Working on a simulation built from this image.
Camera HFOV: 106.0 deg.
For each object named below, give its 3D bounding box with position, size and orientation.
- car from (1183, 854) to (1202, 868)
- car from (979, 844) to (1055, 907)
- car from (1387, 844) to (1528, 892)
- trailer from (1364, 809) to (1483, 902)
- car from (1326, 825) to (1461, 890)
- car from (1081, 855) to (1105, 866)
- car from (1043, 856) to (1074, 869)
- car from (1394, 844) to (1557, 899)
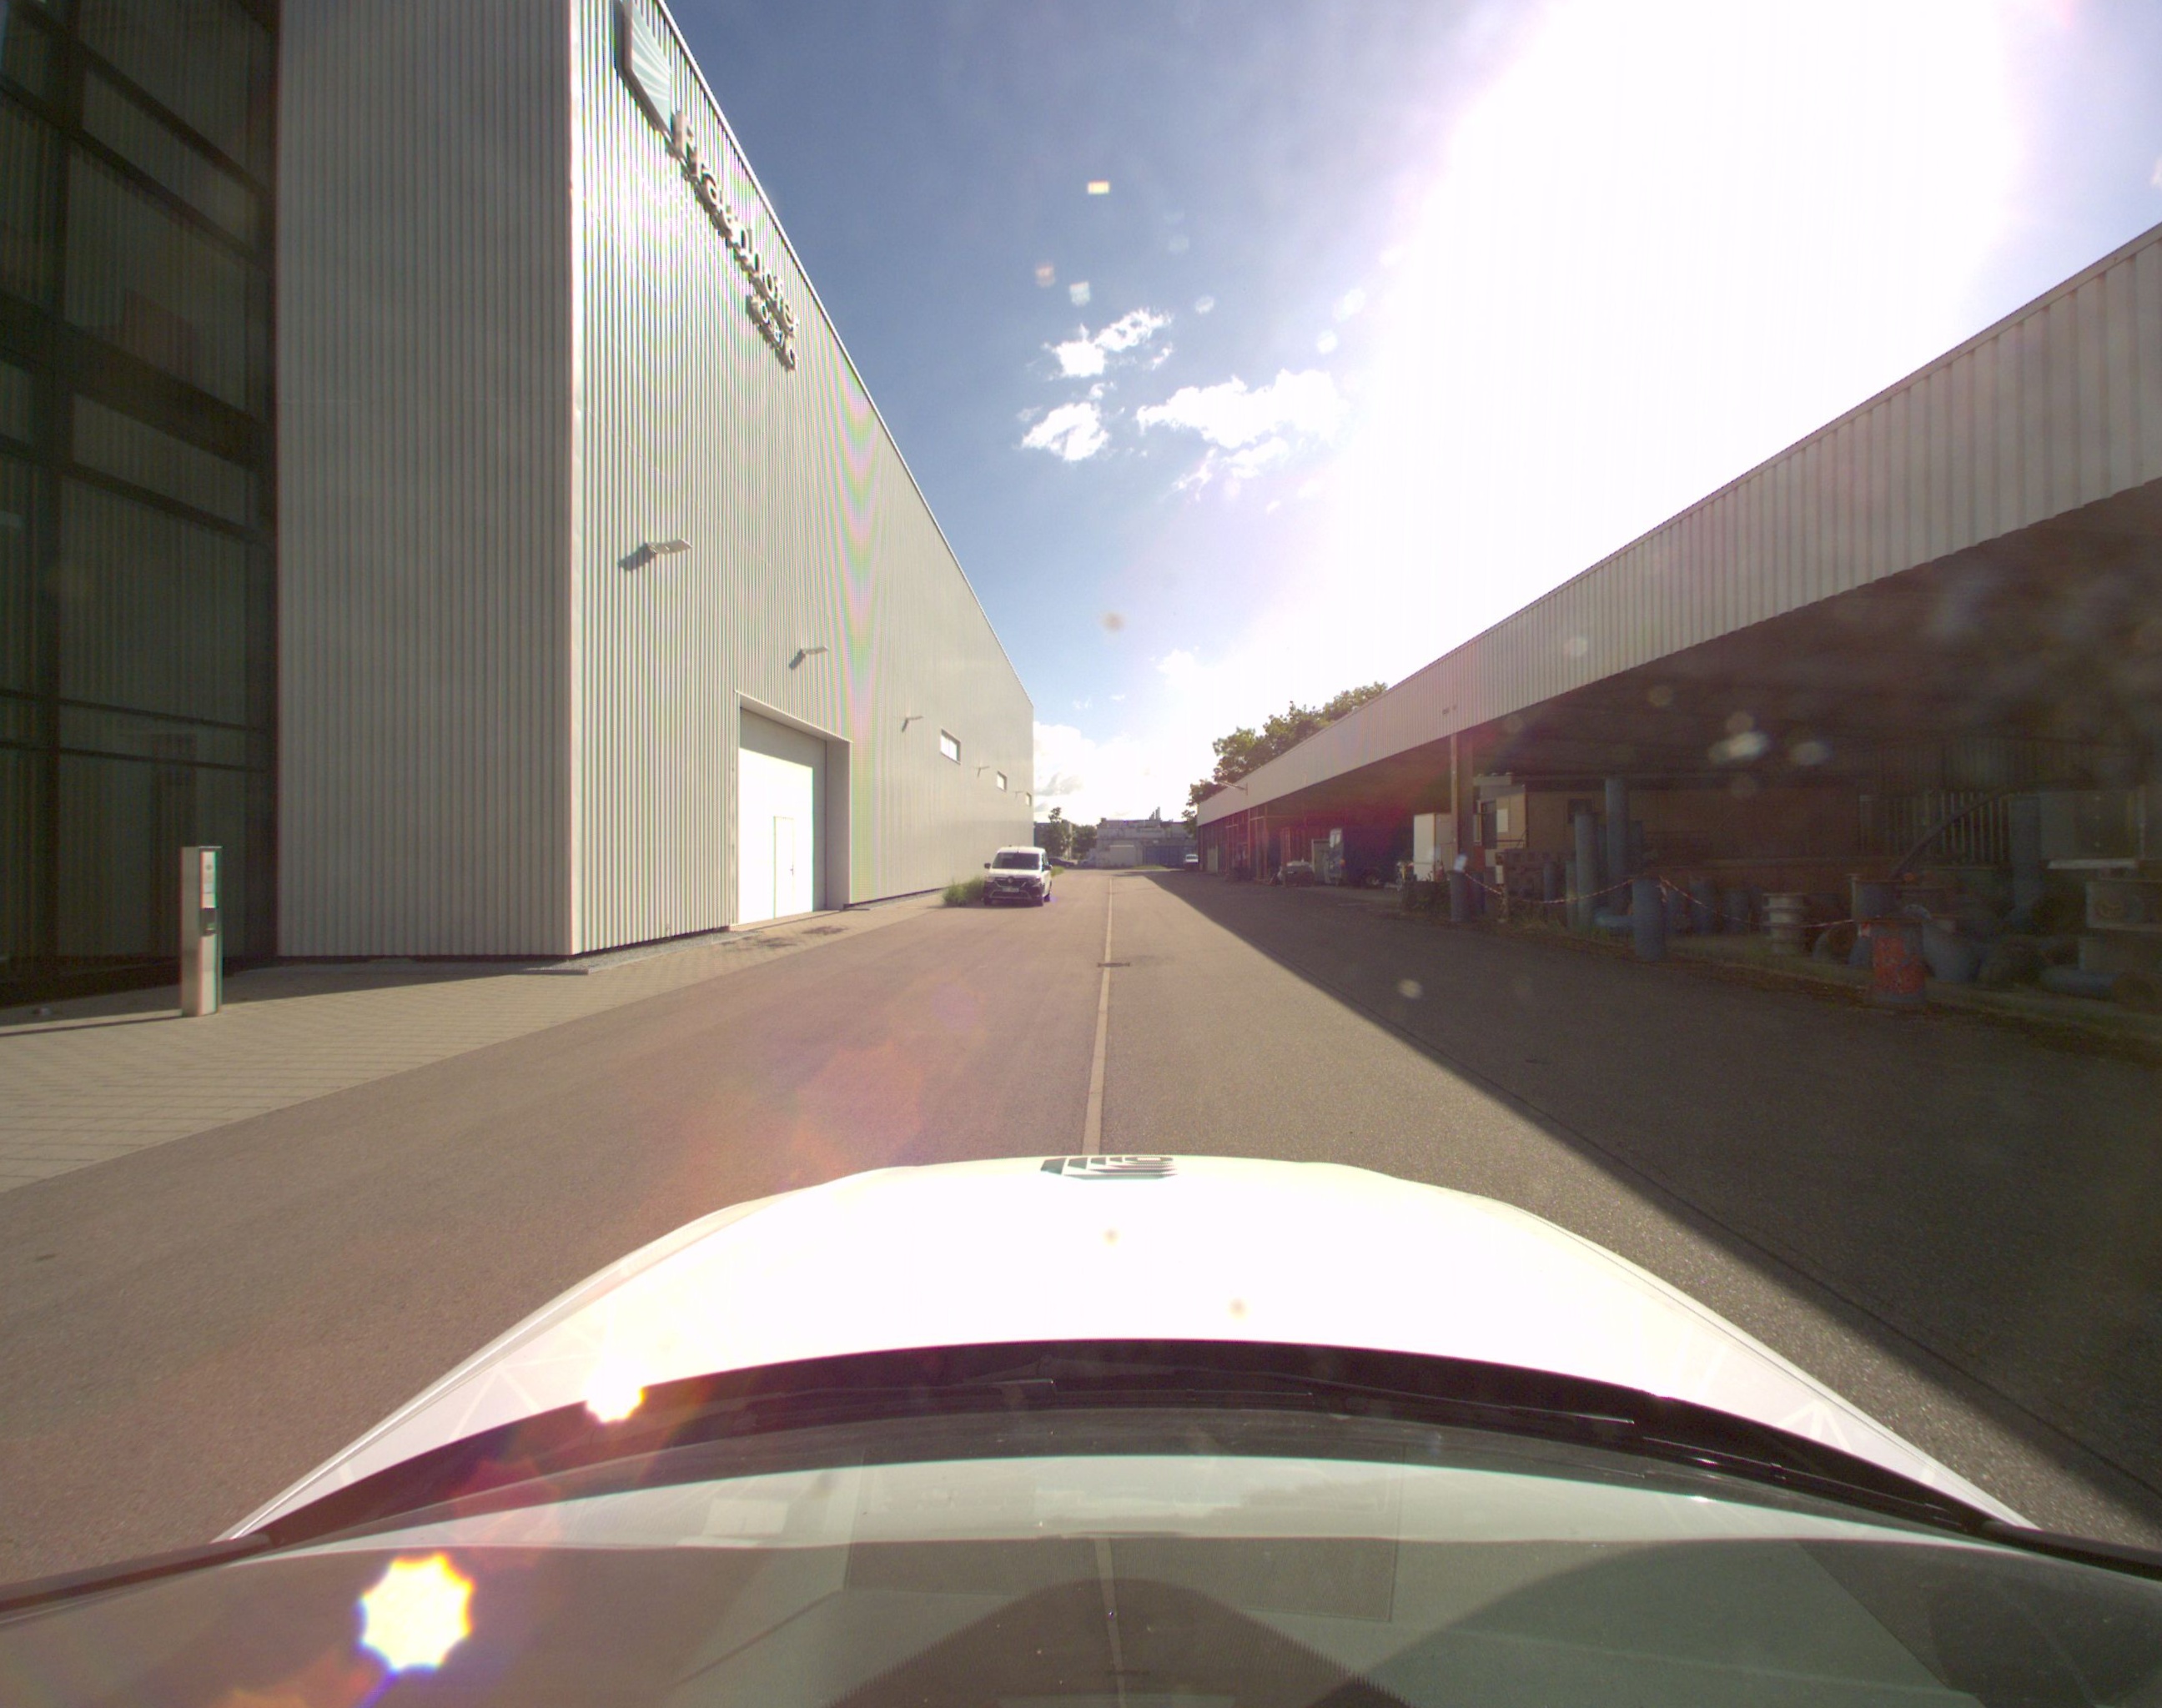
[{"bbox_3d":[12.990,0.837,95.198,1.953,1.564,4.063,1,0,4],"label":"car"},{"bbox_3d":[-1.917,0.618,25.758,1.811,1.787,4.408,1,0,3],"label":"car"},{"bbox_3d":[12.675,0.482,27.578,4.021,1.525,1.685,1,-2,3],"label":"car"},{"bbox_3d":[9.174,0.061,21.986,2.513,2.399,1.728,-1,-1,3],"label":"trailer"},{"bbox_3d":[11.691,0.169,30.708,4.414,2.310,1.916,1,-2,3],"label":"car"},{"bbox_3d":[1.964,1.078,135.842,3.973,1.598,1.848,1,-2,1],"label":"car"},{"bbox_3d":[-2.950,1.106,108.075,3.973,1.598,1.741,1,-2,1],"label":"car"},{"bbox_3d":[11.620,0.534,24.181,4.021,1.525,1.685,1,-2,3],"label":"car"}]
